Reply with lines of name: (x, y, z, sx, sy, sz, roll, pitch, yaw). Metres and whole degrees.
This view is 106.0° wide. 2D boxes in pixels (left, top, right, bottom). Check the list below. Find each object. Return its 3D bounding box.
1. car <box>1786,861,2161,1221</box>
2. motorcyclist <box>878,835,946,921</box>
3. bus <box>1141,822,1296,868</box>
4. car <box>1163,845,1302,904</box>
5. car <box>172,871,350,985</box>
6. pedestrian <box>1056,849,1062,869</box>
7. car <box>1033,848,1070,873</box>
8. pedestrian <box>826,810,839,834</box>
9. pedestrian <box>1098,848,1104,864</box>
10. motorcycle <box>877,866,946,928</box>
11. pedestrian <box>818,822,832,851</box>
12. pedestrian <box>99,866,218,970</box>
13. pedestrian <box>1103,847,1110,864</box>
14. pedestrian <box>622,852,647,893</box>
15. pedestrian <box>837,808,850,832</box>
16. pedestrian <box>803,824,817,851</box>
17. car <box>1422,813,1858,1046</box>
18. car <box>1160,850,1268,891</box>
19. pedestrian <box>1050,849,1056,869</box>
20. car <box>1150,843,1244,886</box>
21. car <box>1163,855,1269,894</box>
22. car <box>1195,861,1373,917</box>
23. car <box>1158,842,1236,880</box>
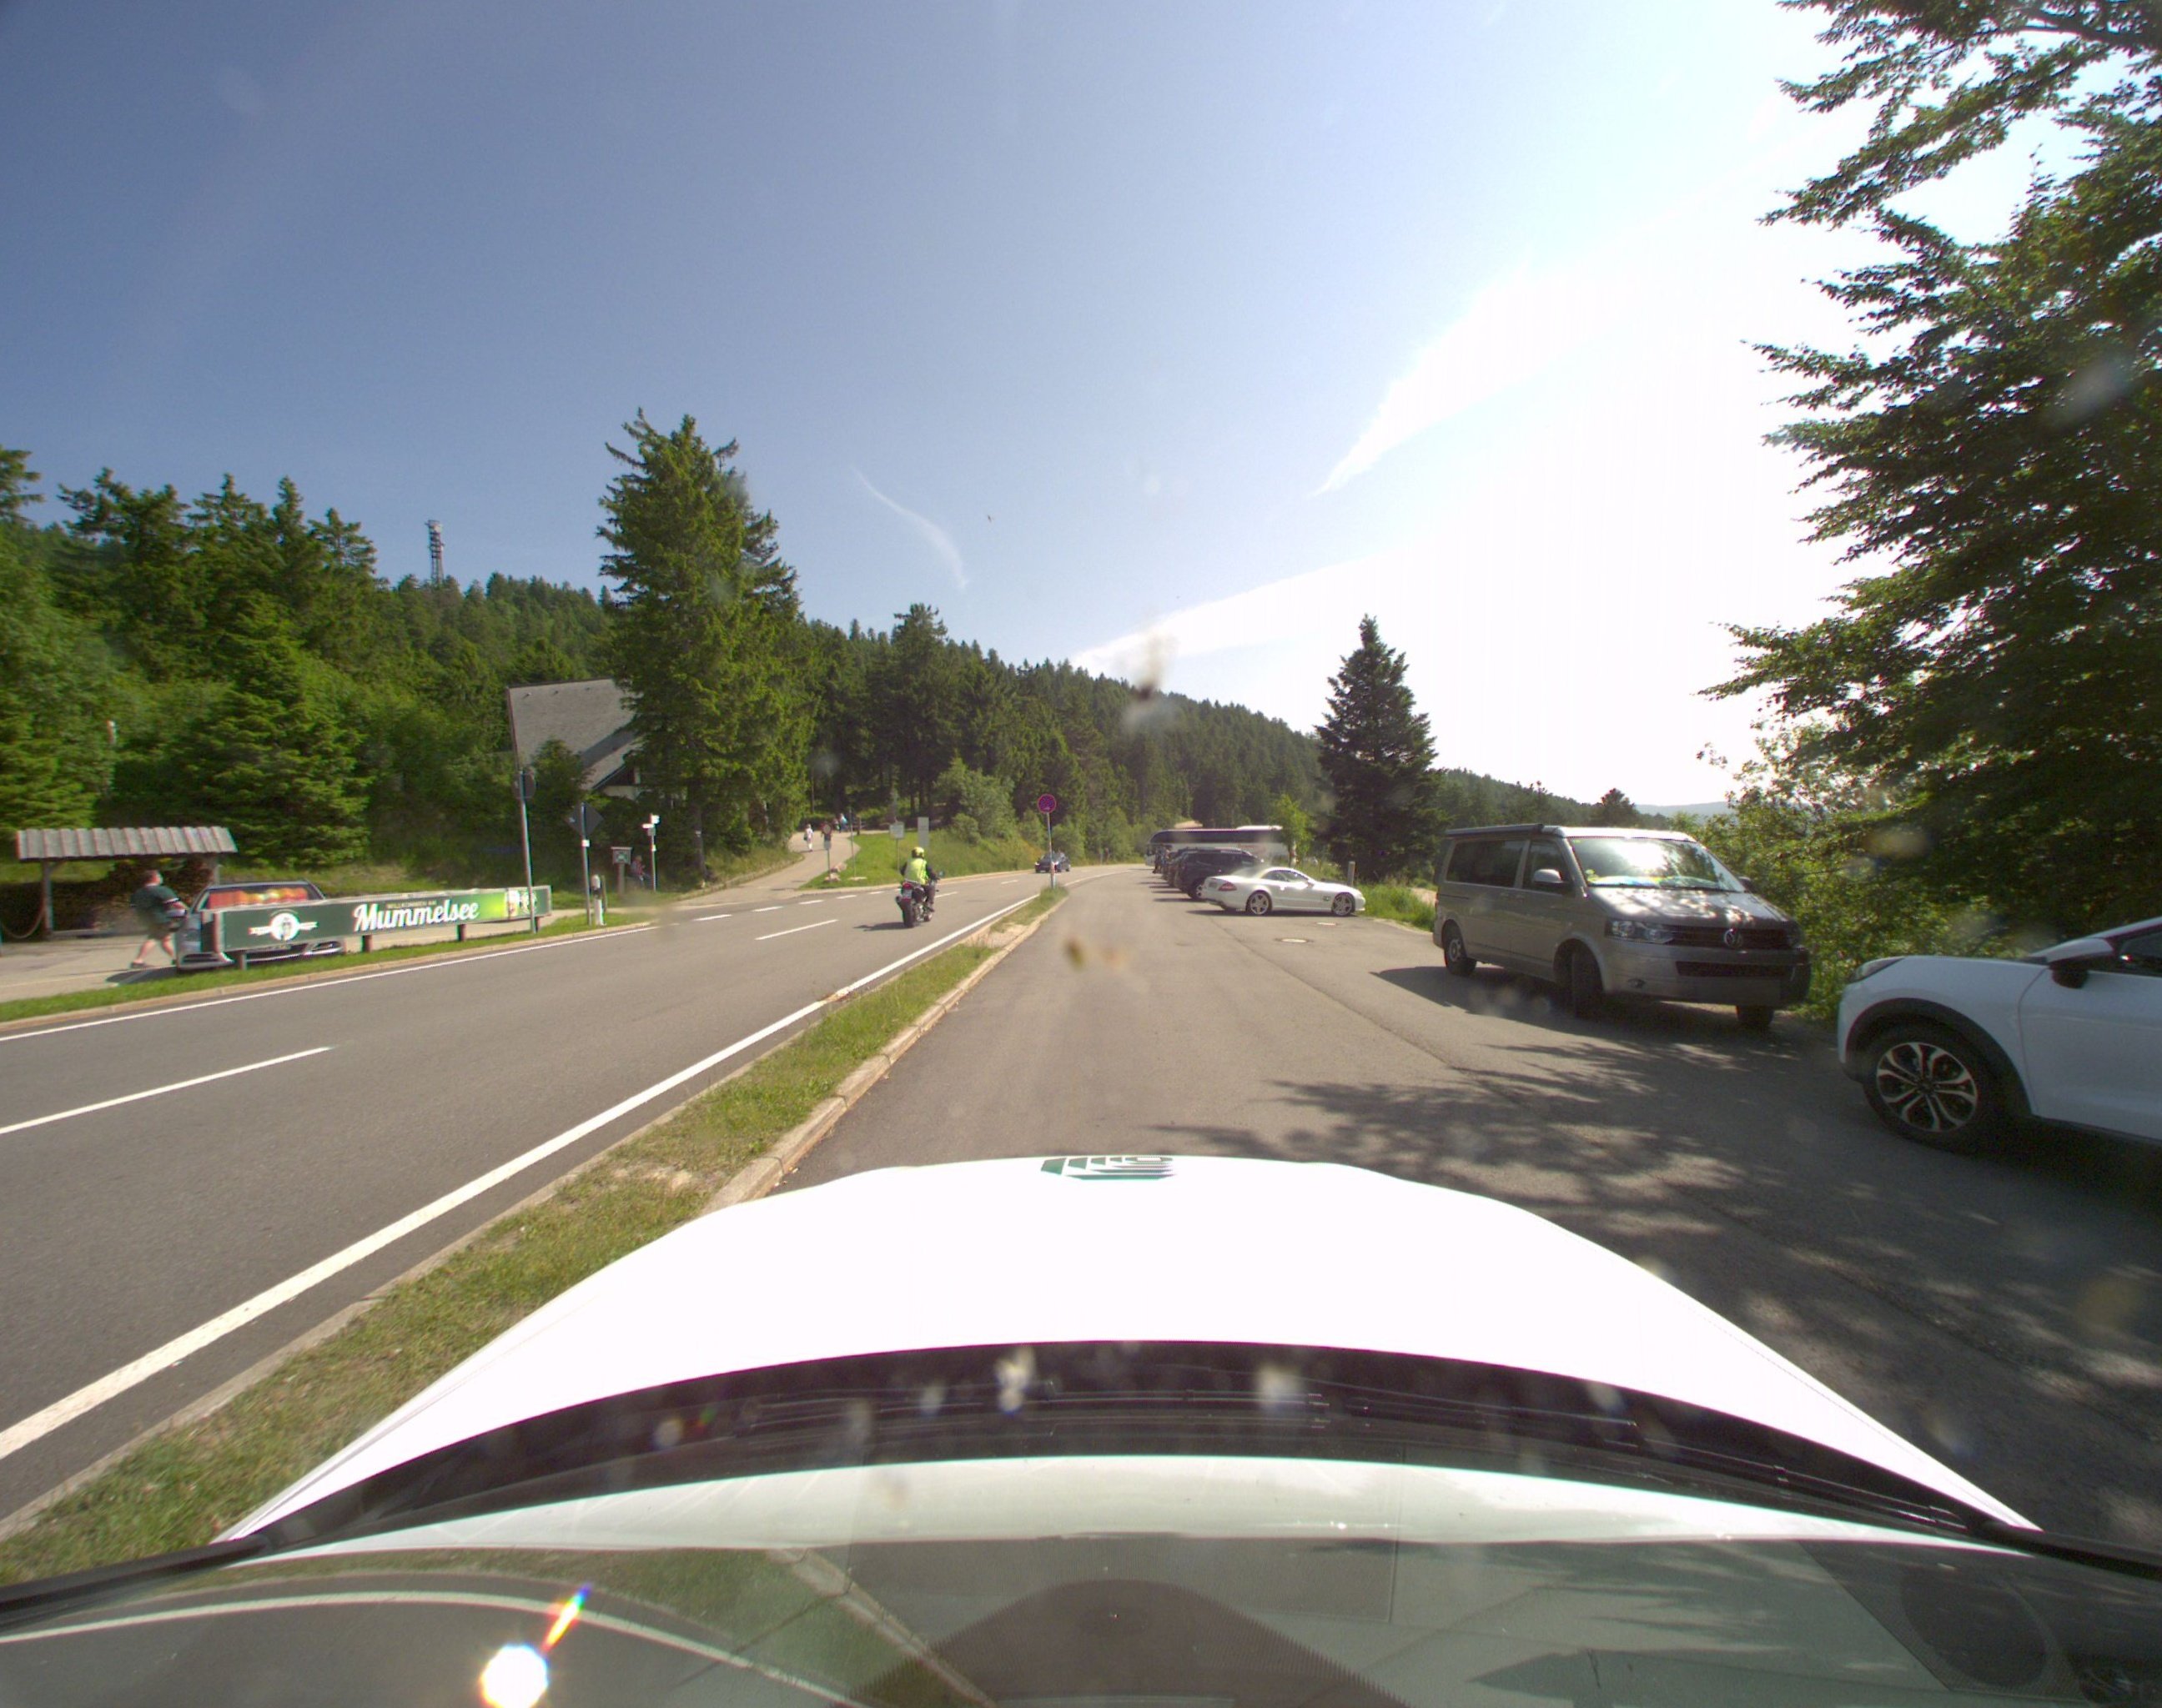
car: (5.428, 0.821, 3.253, 1.674, 1.518, 4.048, 2, 0, -1)
motorcyclist: (-3.478, 0.484, 16.862, 1.021, 1.675, 1.294, -2, -1, 3)
bus: (11.835, -0.738, 70.166, 12.759, 3.577, 2.996, -1, 2, 17)
car: (4.876, 0.632, 26.568, 3.983, 1.699, 1.996, 2, 1, -7)
car: (-13.339, 1.095, 13.207, 3.920, 1.441, 1.755, -2, 2, 42)
pedestrian: (-2.013, 0.437, 73.773, 0.393, 1.747, 0.406, -3, 2, 0)
car: (-2.129, 0.427, 60.085, 1.982, 1.662, 4.009, -2, 1, 8)
pedestrian: (-21.258, -2.726, 69.690, 0.797, 2.013, 0.938, -4, 2, -8)
pedestrian: (2.393, 0.251, 96.528, 0.620, 1.900, 0.655, -3, -1, 0)
motorcycle: (-3.465, 0.857, 16.902, 0.818, 1.177, 2.288, -1, -1, 3)
pedestrian: (-16.353, -1.119, 52.048, 0.652, 1.799, 0.642, -3, -1, -6)
pedestrian: (-16.632, 1.126, 14.712, 0.893, 1.734, 0.961, -3, 2, 0)
pedestrian: (2.949, 0.168, 95.483, 0.730, 2.014, 0.862, -3, -1, 0)
pedestrian: (-17.690, 0.725, 32.261, 0.575, 1.532, 0.553, -3, 2, 0)
pedestrian: (-20.022, -2.868, 68.708, 0.814, 2.013, 0.851, -4, 2, -8)
pedestrian: (-17.069, -1.020, 51.325, 0.652, 1.667, 0.642, -3, -1, -6)
car: (5.900, 0.640, 9.546, 1.897, 1.972, 4.822, 2, 1, 2)
car: (5.320, 0.647, 32.969, 3.975, 1.452, 2.000, 2, 2, -1)
pedestrian: (-2.531, 0.455, 74.085, 0.413, 1.747, 0.457, -3, 2, 0)
car: (5.204, 0.450, 36.872, 3.973, 1.719, 1.868, 2, 2, 0)
car: (4.950, 0.747, 30.139, 3.625, 1.303, 1.641, 1, 2, -1)
car: (5.473, 0.932, 22.037, 4.462, 1.298, 1.574, 2, 0, -16)
car: (6.200, 0.337, 43.965, 3.971, 1.814, 1.941, 2, 2, 2)
